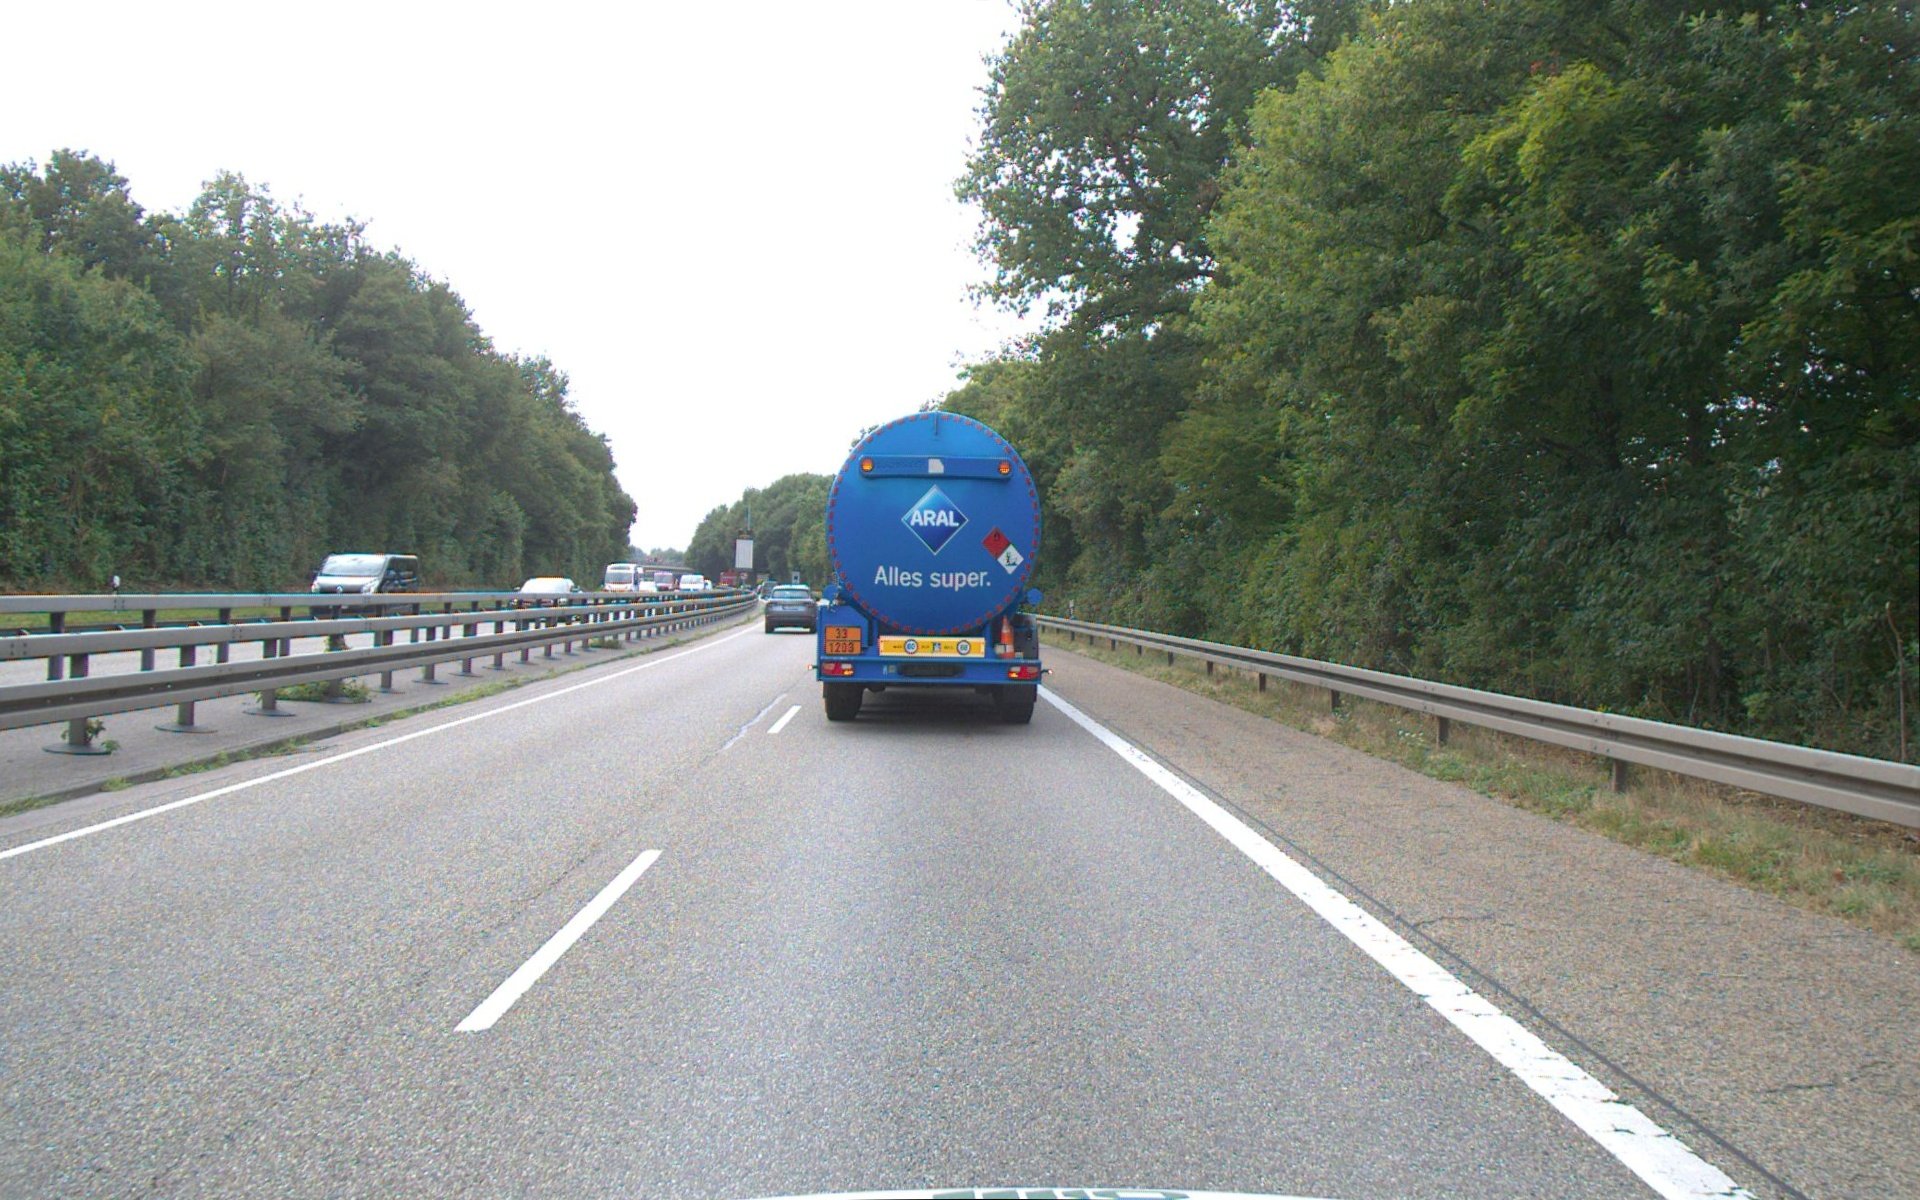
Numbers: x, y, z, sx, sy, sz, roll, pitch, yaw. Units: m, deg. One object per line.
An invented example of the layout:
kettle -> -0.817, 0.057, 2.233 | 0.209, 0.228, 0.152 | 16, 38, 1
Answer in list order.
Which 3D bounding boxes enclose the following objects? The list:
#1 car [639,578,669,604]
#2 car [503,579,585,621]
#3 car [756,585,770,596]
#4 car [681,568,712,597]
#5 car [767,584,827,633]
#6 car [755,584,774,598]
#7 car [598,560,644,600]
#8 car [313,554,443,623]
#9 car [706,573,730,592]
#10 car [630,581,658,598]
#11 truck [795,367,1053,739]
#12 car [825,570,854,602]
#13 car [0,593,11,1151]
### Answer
car -> -27.122, -0.780, 146.696 | 2.026, 2.295, 5.369 | 0, 0, -5
car -> -13.373, 0.000, 53.412 | 1.621, 1.300, 4.711 | 0, 0, -2
car -> -29.468, -1.446, 247.208 | 1.957, 1.579, 3.991 | 0, 0, -10
car -> -18.990, -1.225, 119.416 | 1.786, 2.018, 5.054 | 0, 0, -4
car -> -5.628, 0.276, 57.361 | 1.789, 1.637, 4.166 | 0, 0, -2
car -> -22.446, -1.062, 189.904 | 1.957, 1.579, 3.990 | 0, 0, -10
car -> -22.710, -1.317, 111.059 | 2.266, 2.656, 5.549 | 0, 0, -4
car -> -16.347, -0.314, 46.730 | 1.994, 1.835, 5.121 | 0, 0, -2
car -> -20.535, -1.498, 140.531 | 1.746, 1.590, 4.011 | 0, 0, -4
car -> -25.451, -0.852, 133.240 | 1.739, 1.319, 4.103 | 0, 0, -5
truck -> -0.385, -0.526, 21.315 | 2.699, 3.914, 7.688 | 0, 0, 0
car -> -8.764, -1.010, 120.523 | 1.953, 2.284, 3.998 | 0, 0, -2
car -> -3.472, 0.722, 2.117 | 1.788, 1.483, 4.640 | 0, 0, 1
